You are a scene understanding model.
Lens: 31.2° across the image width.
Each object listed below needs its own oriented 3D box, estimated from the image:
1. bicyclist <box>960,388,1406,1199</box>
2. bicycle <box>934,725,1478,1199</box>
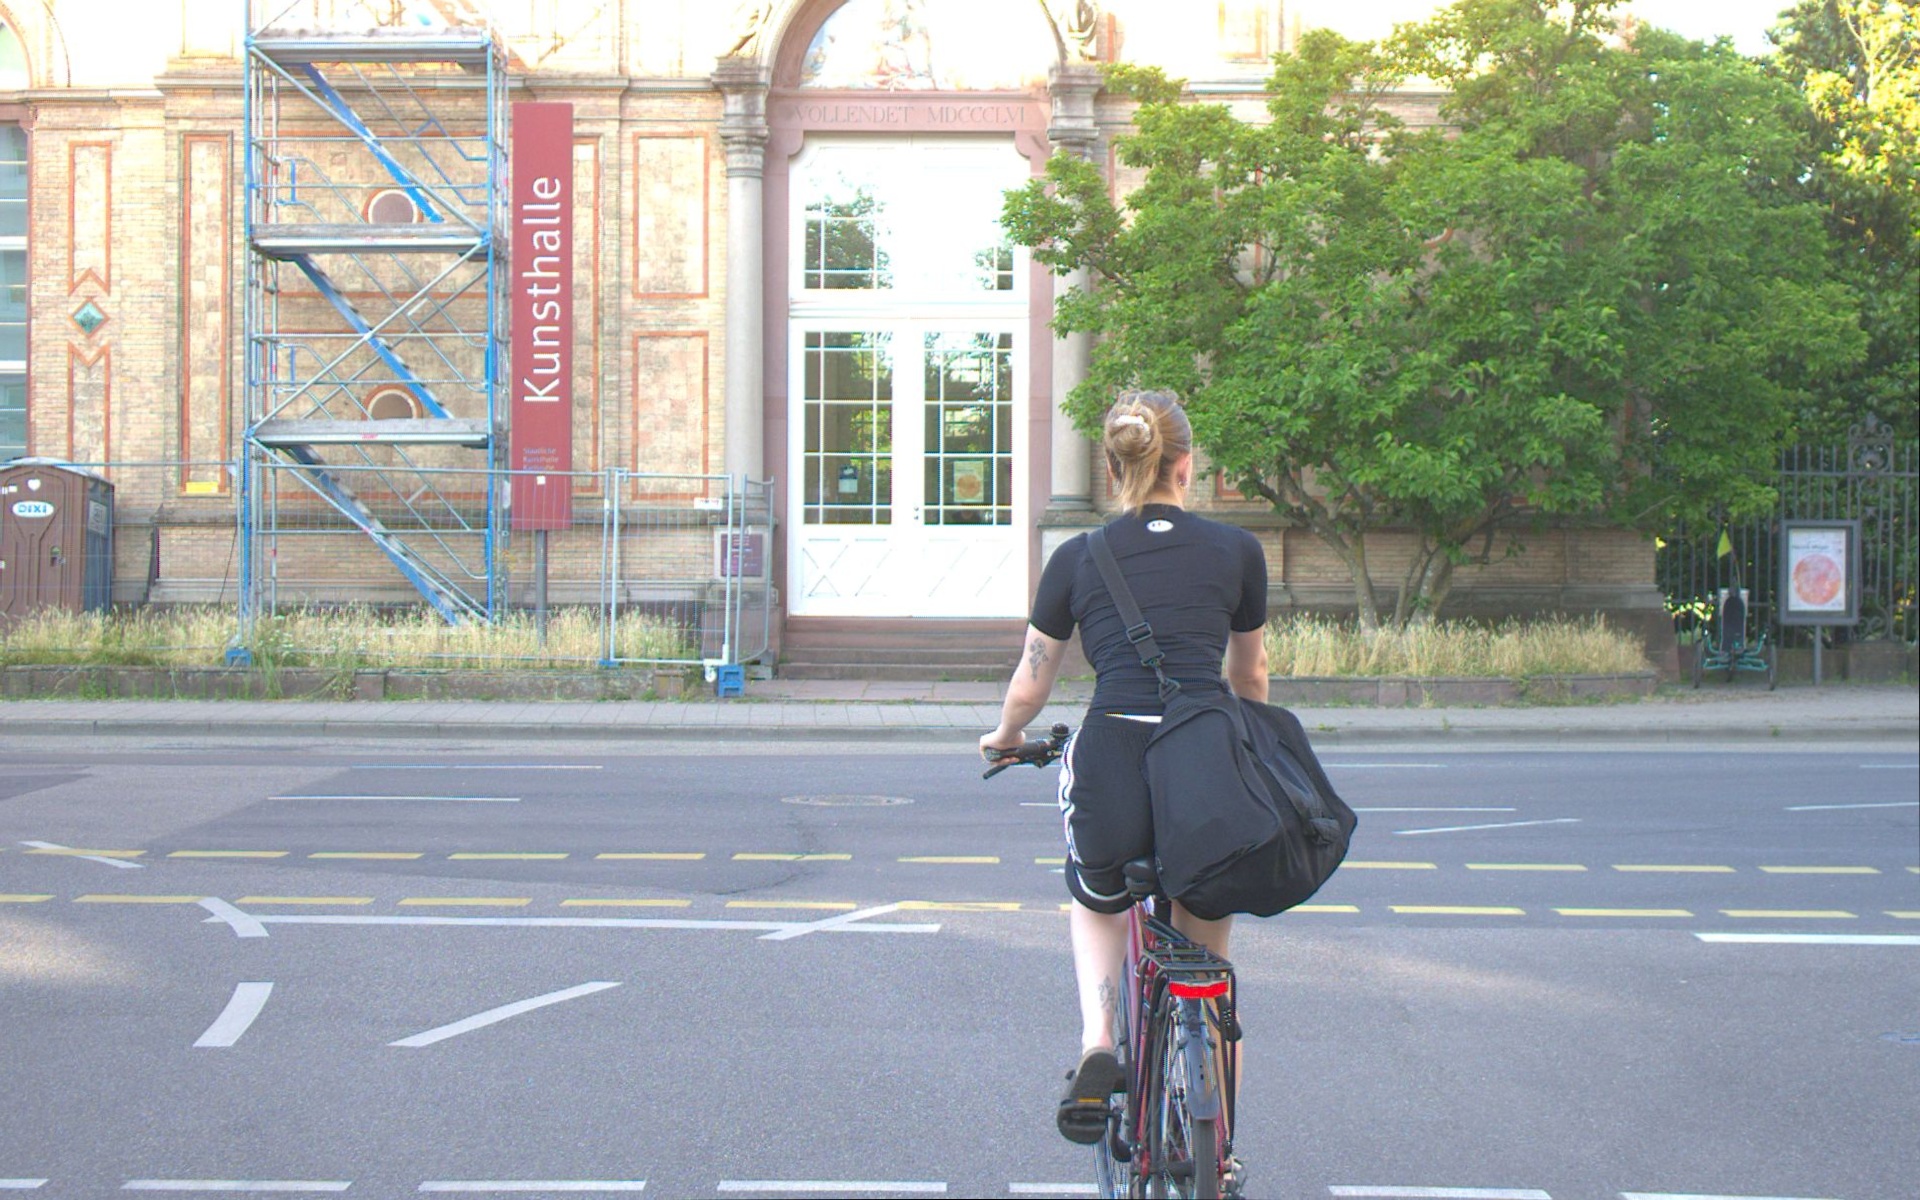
[{"bbox_3d":[0.406,0.376,6.634,0.716,1.497,0.851,0,-1,-6],"label":"bicyclist"},{"bbox_3d":[0.401,0.845,6.696,0.711,1.152,2.069,0,-1,-6],"label":"bicycle"}]
